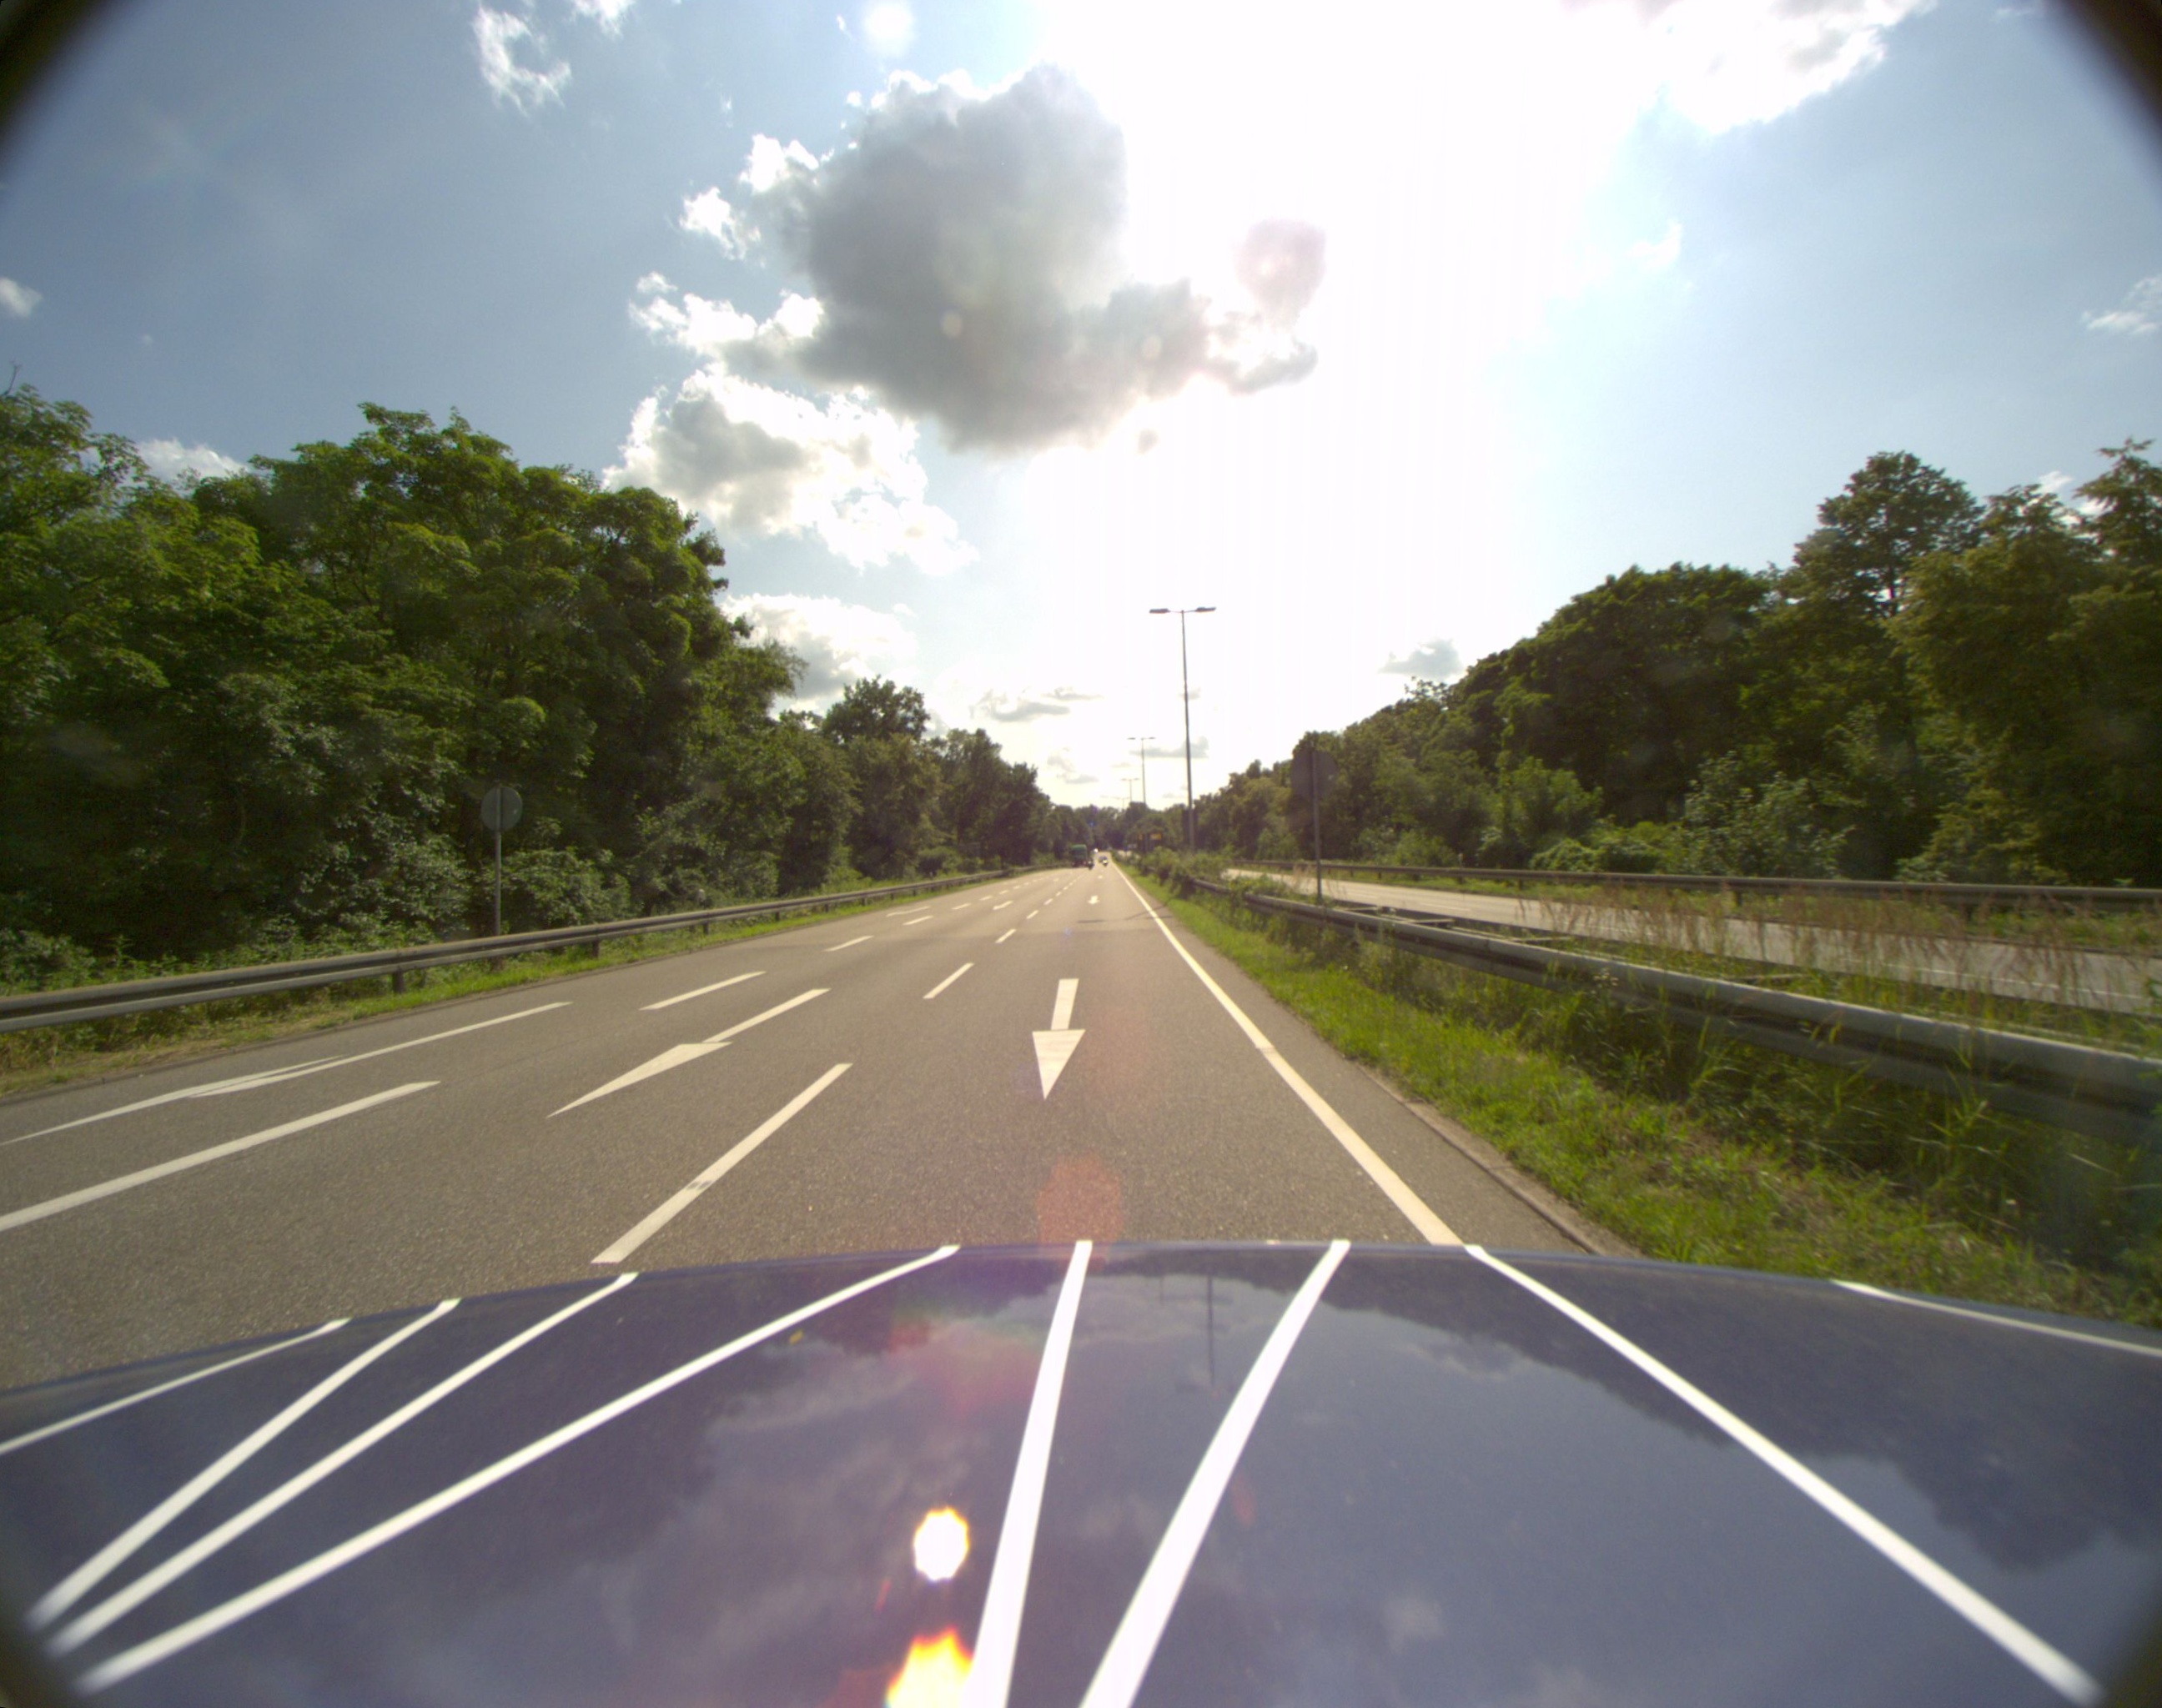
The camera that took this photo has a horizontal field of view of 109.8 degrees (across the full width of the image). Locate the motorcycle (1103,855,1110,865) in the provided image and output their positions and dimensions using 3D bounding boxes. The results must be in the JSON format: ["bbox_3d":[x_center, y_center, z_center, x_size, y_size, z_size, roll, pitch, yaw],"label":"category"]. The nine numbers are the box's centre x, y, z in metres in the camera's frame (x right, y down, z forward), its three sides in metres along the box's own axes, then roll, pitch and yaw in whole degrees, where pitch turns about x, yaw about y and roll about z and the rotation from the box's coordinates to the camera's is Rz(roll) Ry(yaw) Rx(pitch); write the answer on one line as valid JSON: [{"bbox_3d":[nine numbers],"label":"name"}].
[{"bbox_3d":[3.659,0.920,109.737,0.867,1.380,2.371,-2,-1,3],"label":"motorcycle"}]

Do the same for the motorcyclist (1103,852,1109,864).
[{"bbox_3d":[3.644,0.556,109.649,0.867,1.690,0.895,-2,-1,2],"label":"motorcyclist"}]

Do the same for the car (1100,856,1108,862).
[{"bbox_3d":[5.539,1.264,181.789,1.735,1.467,4.048,-2,-1,3],"label":"car"}]

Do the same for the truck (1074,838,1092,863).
[{"bbox_3d":[0.355,-0.524,121.272,2.591,3.870,6.063,-3,0,2],"label":"truck"}]

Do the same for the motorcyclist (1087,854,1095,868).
[{"bbox_3d":[1.213,0.862,92.440,0.939,1.581,1.083,-2,0,3],"label":"motorcyclist"}]

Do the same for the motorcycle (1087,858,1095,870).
[{"bbox_3d":[1.228,1.207,92.406,0.939,1.375,2.371,-2,-1,3],"label":"motorcycle"}]

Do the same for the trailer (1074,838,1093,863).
[{"bbox_3d":[0.511,-0.442,128.252,2.591,3.870,14.504,-3,-1,1],"label":"trailer"}]
